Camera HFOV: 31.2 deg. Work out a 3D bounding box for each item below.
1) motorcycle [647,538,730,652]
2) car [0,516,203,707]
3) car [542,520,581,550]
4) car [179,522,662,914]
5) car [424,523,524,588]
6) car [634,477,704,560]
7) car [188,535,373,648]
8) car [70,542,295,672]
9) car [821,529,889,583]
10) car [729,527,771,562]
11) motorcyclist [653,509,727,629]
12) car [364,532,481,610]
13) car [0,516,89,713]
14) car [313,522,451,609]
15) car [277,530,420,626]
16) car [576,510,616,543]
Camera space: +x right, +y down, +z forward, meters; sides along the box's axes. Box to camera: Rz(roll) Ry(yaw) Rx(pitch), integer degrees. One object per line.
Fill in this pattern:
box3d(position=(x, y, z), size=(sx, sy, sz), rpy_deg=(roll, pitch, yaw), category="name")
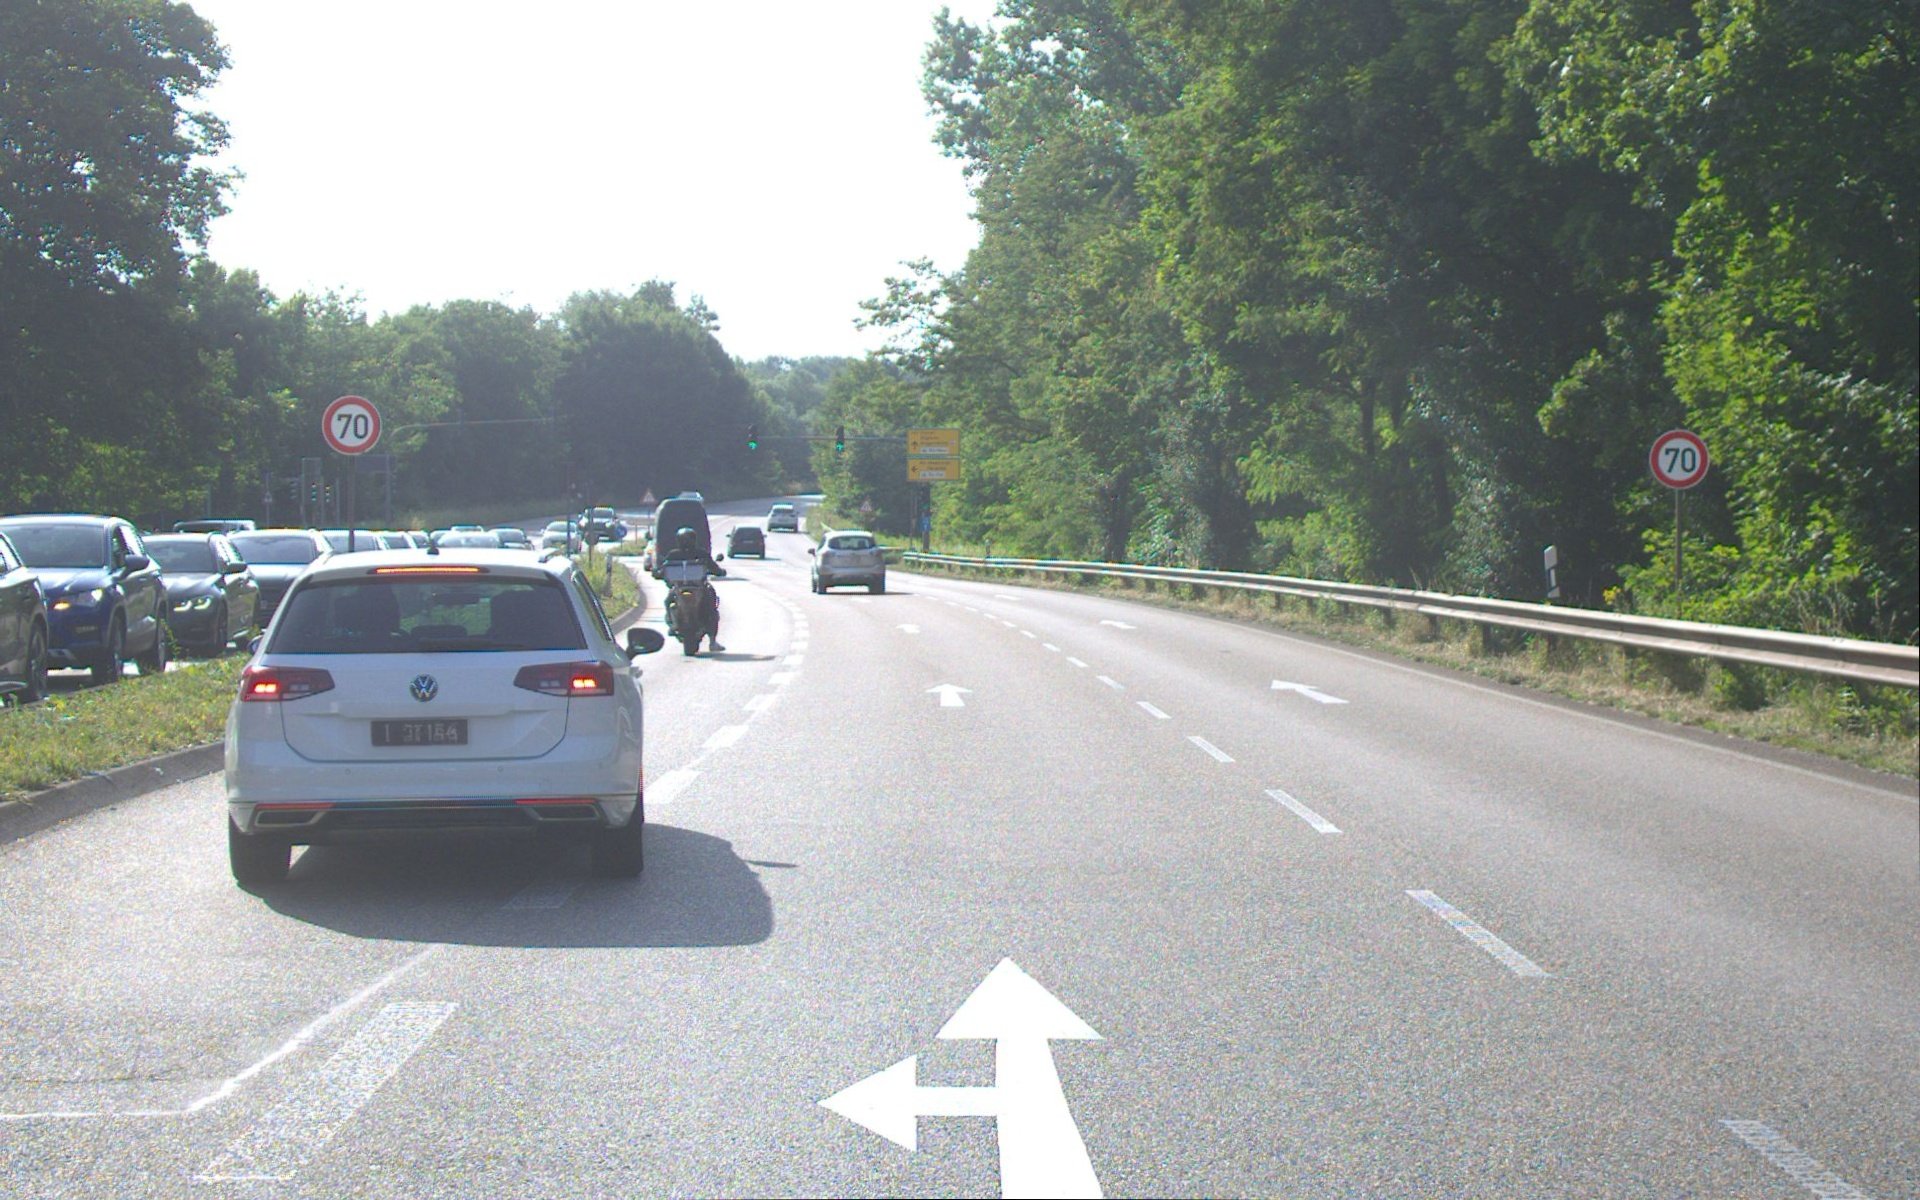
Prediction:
box3d(position=(-3.746, -0.090, 47.623), size=(0.909, 1.448, 2.689), rpy_deg=(-3, 2, -1), category="motorcycle")
box3d(position=(-8.559, 0.050, 32.867), size=(1.771, 1.663, 4.801), rpy_deg=(-1, 2, -3), category="car")
box3d(position=(-19.362, -3.164, 167.188), size=(1.788, 1.406, 4.228), rpy_deg=(2, 1, -6), category="car")
box3d(position=(-2.409, 0.431, 16.448), size=(1.869, 1.516, 4.835), rpy_deg=(2, 1, -5), category="car")
box3d(position=(-11.170, -1.046, 79.266), size=(1.867, 1.412, 4.416), rpy_deg=(-1, 2, -3), category="car")
box3d(position=(-10.362, -2.926, 122.958), size=(2.209, 2.878, 7.012), rpy_deg=(-1, 2, -3), category="car")
box3d(position=(-9.443, -0.162, 48.143), size=(1.771, 1.418, 5.193), rpy_deg=(-1, 2, -3), category="car")
box3d(position=(-9.162, 0.035, 40.868), size=(1.771, 1.375, 4.844), rpy_deg=(-1, 2, -3), category="car")
box3d(position=(-2.865, -1.220, 93.527), size=(1.761, 1.375, 3.972), rpy_deg=(1, 1, -2), category="car")
box3d(position=(-9.978, -2.637, 163.205), size=(1.744, 1.532, 3.927), rpy_deg=(2, 1, -7), category="car")
box3d(position=(-3.728, -0.439, 47.520), size=(0.883, 1.610, 1.290), rpy_deg=(2, 1, -1), category="motorcyclist")
box3d(position=(-10.448, -0.595, 67.034), size=(1.767, 1.412, 4.435), rpy_deg=(-1, 2, -3), category="car")
box3d(position=(-8.043, 0.108, 26.081), size=(1.760, 1.451, 5.186), rpy_deg=(-1, 2, -3), category="car")
box3d(position=(-10.167, -0.637, 60.784), size=(1.767, 1.418, 5.194), rpy_deg=(-1, 2, -3), category="car")
box3d(position=(-9.763, -0.381, 55.134), size=(1.706, 1.418, 4.212), rpy_deg=(-1, 2, -3), category="car")
box3d(position=(-19.902, -4.042, 188.069), size=(2.075, 1.757, 4.758), rpy_deg=(-1, 2, -6), category="car")
